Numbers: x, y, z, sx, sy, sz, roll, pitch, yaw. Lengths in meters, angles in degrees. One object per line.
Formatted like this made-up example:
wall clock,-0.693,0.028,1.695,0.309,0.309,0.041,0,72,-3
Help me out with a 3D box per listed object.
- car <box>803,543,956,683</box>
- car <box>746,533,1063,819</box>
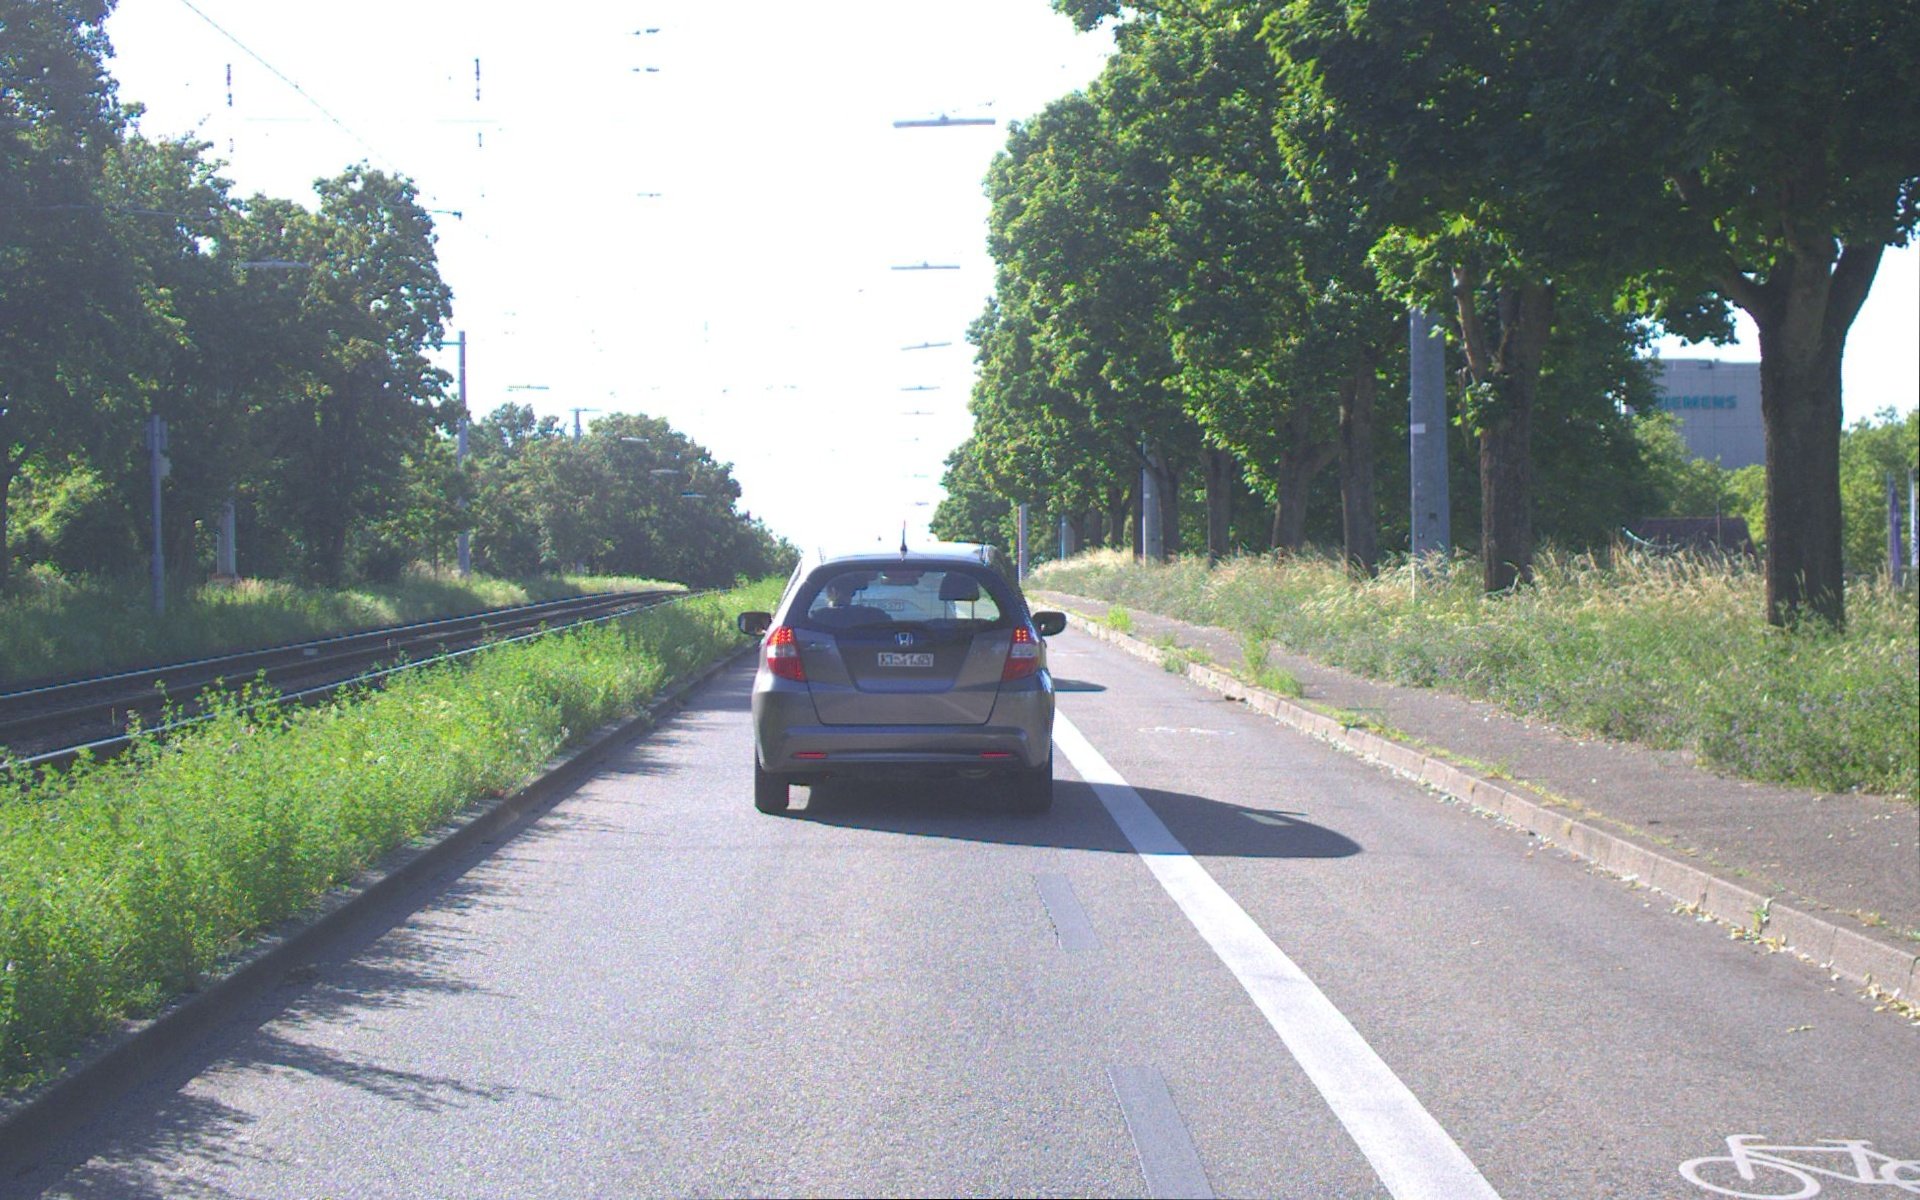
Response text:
car,-0.886,0.119,39.447,1.654,1.502,3.811,1,1,0
car,-0.303,0.382,20.274,1.670,1.502,3.811,1,1,0
